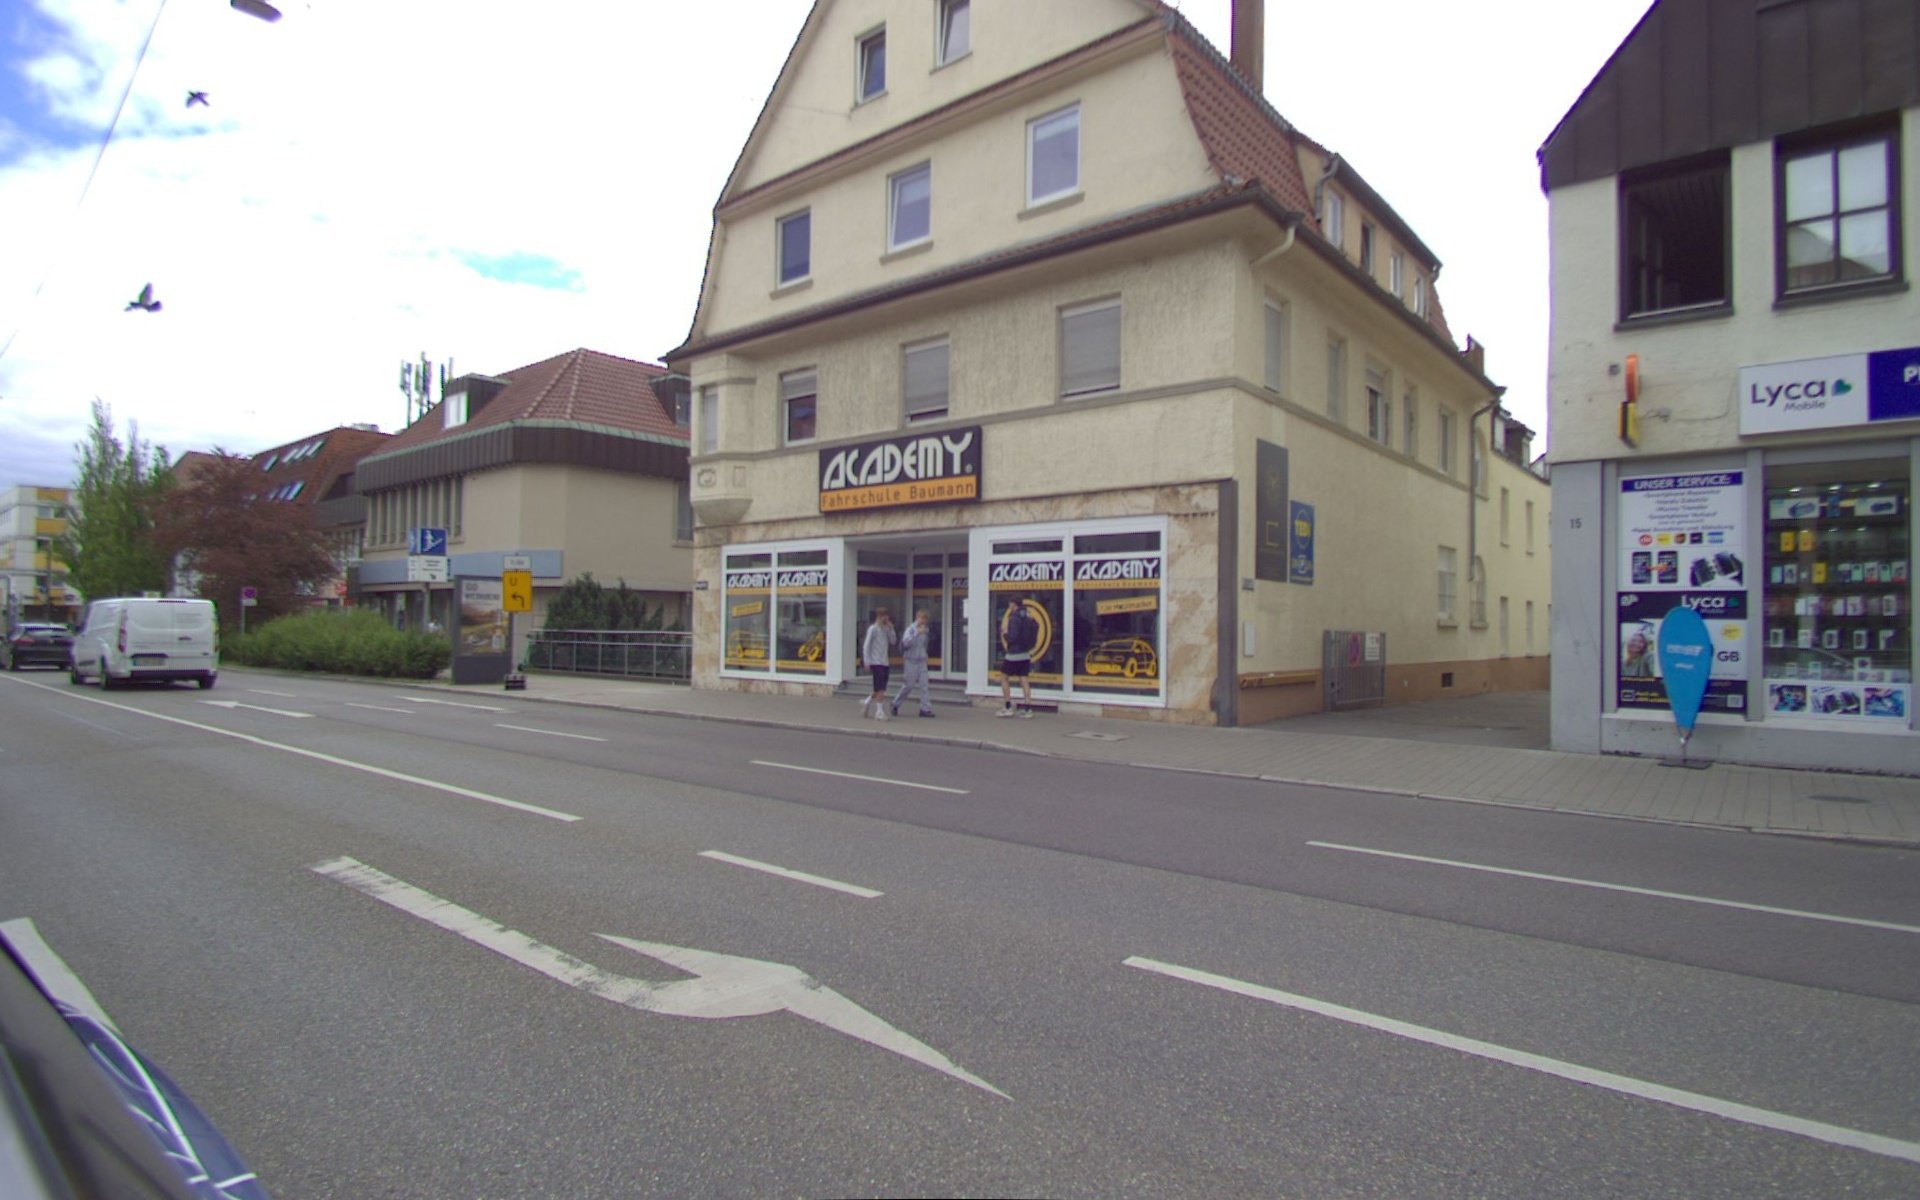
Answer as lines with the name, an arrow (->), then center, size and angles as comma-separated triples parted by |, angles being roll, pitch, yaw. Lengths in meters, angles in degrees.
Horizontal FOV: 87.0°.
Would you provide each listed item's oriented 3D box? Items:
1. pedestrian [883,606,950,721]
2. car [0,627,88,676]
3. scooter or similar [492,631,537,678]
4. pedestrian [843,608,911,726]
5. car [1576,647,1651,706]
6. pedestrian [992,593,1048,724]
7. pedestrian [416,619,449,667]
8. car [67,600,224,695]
pedestrian -> -0.668, 0.953, 15.550 | 0.709, 1.683, 0.681 | -2, 0, 41
car -> -27.742, 1.513, 30.508 | 3.539, 1.410, 1.630 | -1, -2, 40
scooter or similar -> -13.632, 1.644, 31.011 | 0.536, 1.404, 1.182 | -1, -2, 25
pedestrian -> -1.242, 0.975, 15.100 | 0.742, 1.703, 0.680 | -2, -1, 41
car -> 19.626, 2.242, 30.479 | 1.720, 1.408, 3.956 | 4, 1, 32
pedestrian -> 0.897, 0.850, 15.089 | 0.592, 1.903, 0.544 | -2, -1, 37
pedestrian -> -19.855, 1.620, 38.120 | 0.837, 1.772, 0.825 | -2, -3, 41
car -> -18.337, 1.036, 22.731 | 4.318, 1.924, 1.932 | -1, -2, 40
